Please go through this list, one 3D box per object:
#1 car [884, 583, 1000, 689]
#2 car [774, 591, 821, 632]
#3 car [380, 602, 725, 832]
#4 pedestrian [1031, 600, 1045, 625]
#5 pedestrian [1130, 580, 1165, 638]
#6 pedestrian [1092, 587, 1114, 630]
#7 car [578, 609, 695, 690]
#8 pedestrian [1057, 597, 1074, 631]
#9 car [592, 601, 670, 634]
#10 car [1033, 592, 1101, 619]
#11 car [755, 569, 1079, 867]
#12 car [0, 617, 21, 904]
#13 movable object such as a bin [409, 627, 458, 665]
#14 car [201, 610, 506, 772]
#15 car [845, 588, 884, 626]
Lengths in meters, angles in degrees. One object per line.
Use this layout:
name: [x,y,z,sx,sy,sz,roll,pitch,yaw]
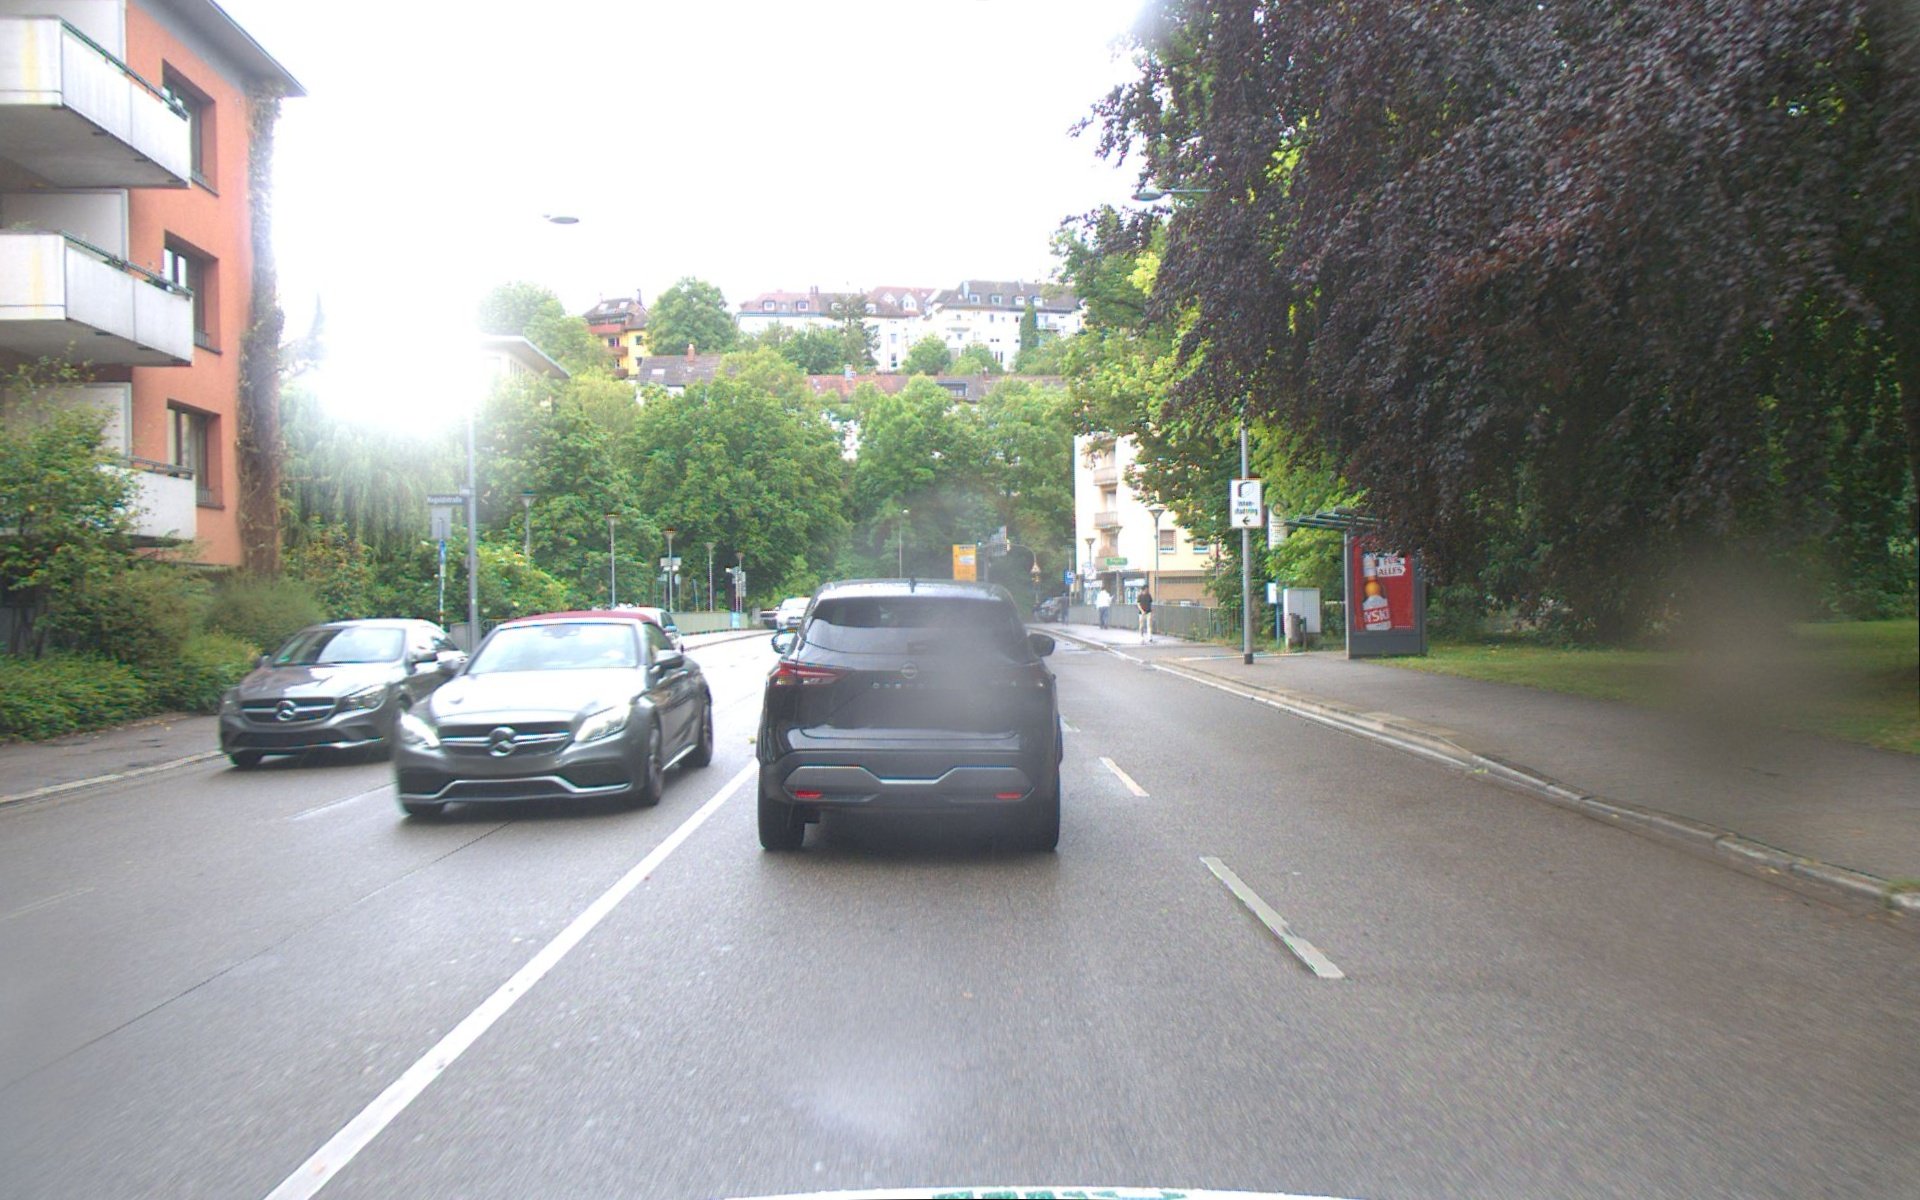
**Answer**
car: [-0.310,0.550,27.545,1.774,1.631,3.999,0,0,-1]
car: [-6.953,0.481,71.133,1.777,1.606,4.229,-2,1,-3]
car: [-3.081,0.797,13.433,1.757,1.440,4.334,-2,1,-1]
pedestrian: [5.357,0.853,113.124,0.845,1.647,0.839,-2,-1,-1]
pedestrian: [5.735,0.277,50.703,0.830,1.705,1.167,-3,-1,-2]
pedestrian: [6.009,0.371,69.421,0.764,1.783,1.060,-1,-1,-1]
car: [-6.669,0.981,34.500,1.777,1.440,4.046,-2,1,-3]
pedestrian: [5.437,0.721,85.401,0.745,1.706,0.781,-3,0,-1]
car: [-20.284,1.063,102.220,4.655,1.886,1.996,-1,1,-10]
car: [7.336,0.373,113.742,4.315,1.678,1.867,-2,-1,-27]
car: [-0.267,0.640,11.078,1.774,1.631,3.999,0,0,-1]
car: [-5.899,0.906,6.982,1.652,1.517,3.889,-2,1,-1]
movable object such as a bin: [-13.271,1.154,41.729,0.946,0.892,0.832,-2,-1,-1]
car: [-6.581,0.903,18.537,1.777,1.440,4.681,-2,1,-2]
car: [-6.315,0.414,109.668,2.243,2.349,6.507,-2,1,-1]
